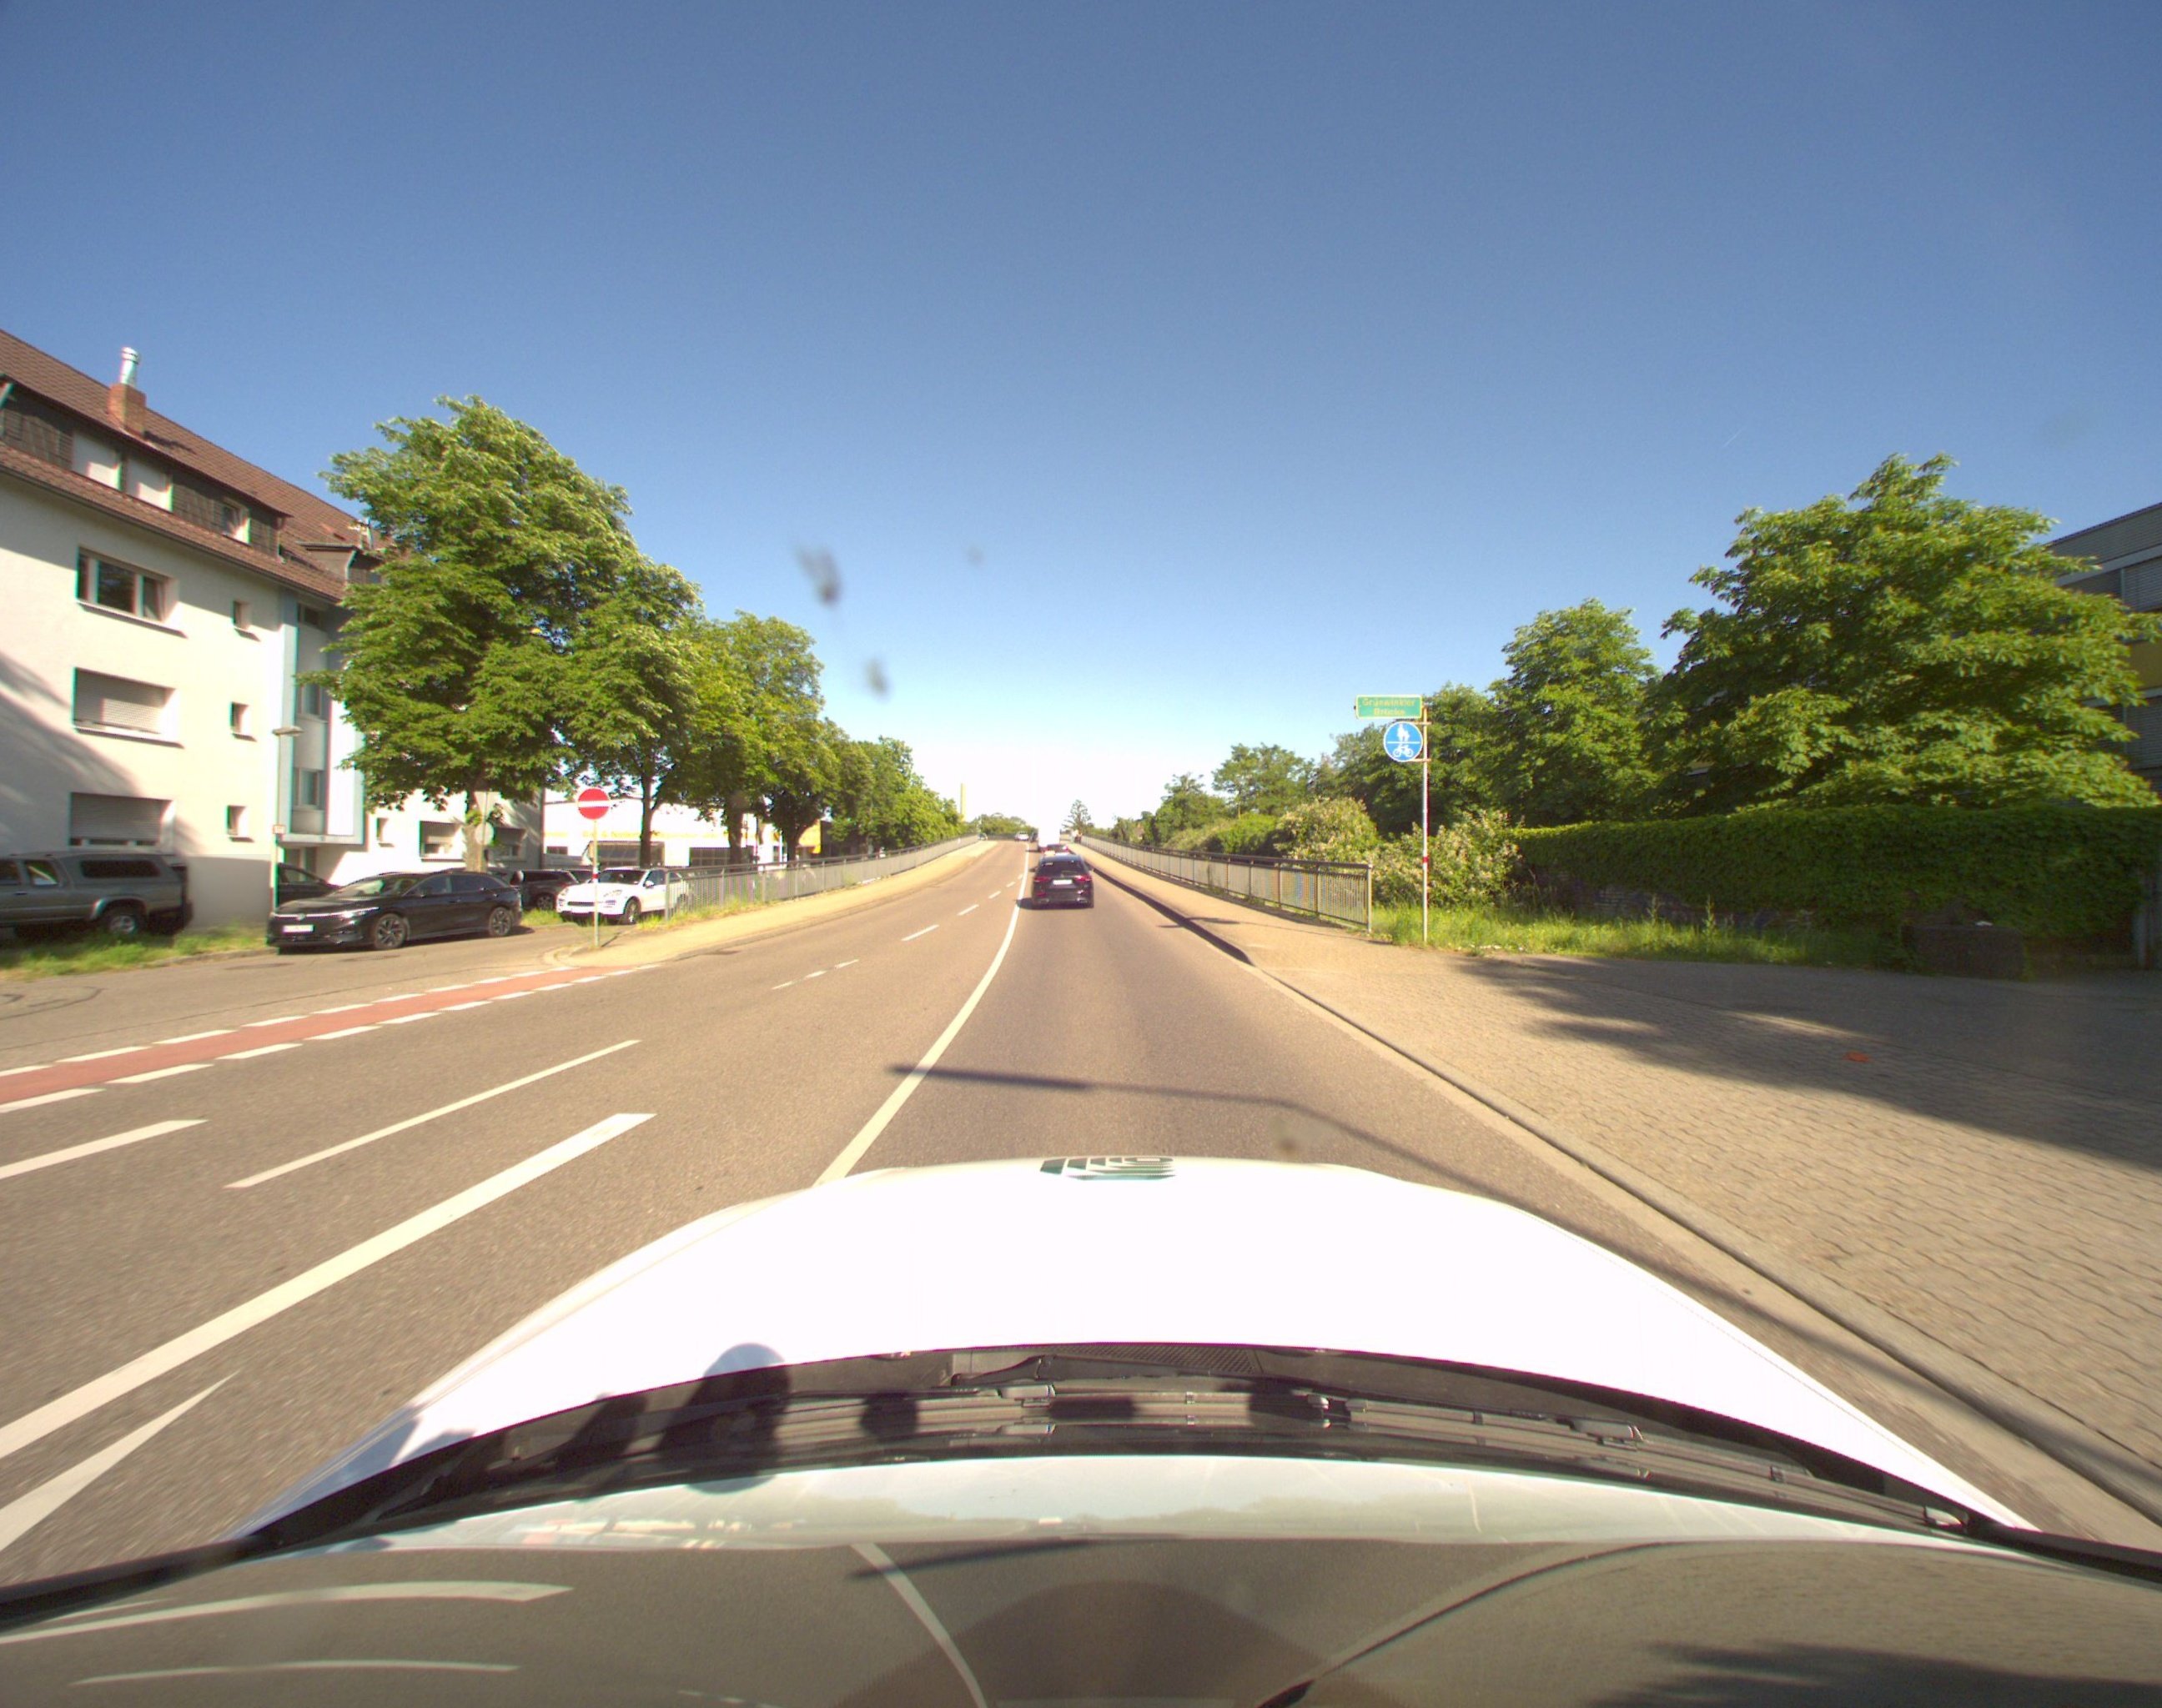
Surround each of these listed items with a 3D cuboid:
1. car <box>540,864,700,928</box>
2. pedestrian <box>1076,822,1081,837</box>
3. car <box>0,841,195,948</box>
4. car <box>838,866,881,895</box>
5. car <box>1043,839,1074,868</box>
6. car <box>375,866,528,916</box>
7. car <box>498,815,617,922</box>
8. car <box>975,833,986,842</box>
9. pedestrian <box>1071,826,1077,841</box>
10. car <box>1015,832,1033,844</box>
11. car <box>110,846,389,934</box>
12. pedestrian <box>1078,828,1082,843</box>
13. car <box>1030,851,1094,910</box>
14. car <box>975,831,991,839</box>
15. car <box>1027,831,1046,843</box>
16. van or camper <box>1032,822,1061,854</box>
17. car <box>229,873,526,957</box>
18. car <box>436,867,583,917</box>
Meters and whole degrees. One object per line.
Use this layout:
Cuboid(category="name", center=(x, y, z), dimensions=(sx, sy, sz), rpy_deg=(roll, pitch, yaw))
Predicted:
Cuboid(category="car", center=(-14.000, 1.198, 25.192), dimensions=(2.032, 1.729, 5.233), rpy_deg=(1, -1, -1))
Cuboid(category="pedestrian", center=(-0.249, -2.840, 94.483), dimensions=(0.548, 1.750, 0.738), rpy_deg=(0, 0, -4))
Cuboid(category="car", center=(-20.348, 0.735, 15.325), dimensions=(1.741, 1.930, 5.101), rpy_deg=(0, -1, 0))
Cuboid(category="car", center=(-16.341, 1.916, 60.412), dimensions=(1.916, 1.991, 4.258), rpy_deg=(0, 0, 1))
Cuboid(category="car", center=(-1.329, -0.008, 49.348), dimensions=(1.799, 1.640, 3.998), rpy_deg=(0, -2, 0))
Cuboid(category="car", center=(-20.441, 1.171, 26.656), dimensions=(3.679, 1.510, 1.768), rpy_deg=(0, 0, -29))
Cuboid(category="car", center=(-27.588, 0.882, 43.290), dimensions=(2.124, 2.567, 5.875), rpy_deg=(22, -30, 7))
Cuboid(category="car", center=(-17.913, -2.964, 145.140), dimensions=(1.766, 1.474, 3.984), rpy_deg=(-2, 2, -4))
Cuboid(category="pedestrian", center=(-0.822, -2.336, 93.784), dimensions=(0.601, 1.750, 0.716), rpy_deg=(0, 0, -4))
Cuboid(category="car", center=(-9.075, -2.541, 130.798), dimensions=(1.981, 1.680, 4.010), rpy_deg=(-1, -1, 10))
Cuboid(category="car", center=(-20.373, 0.826, 20.363), dimensions=(2.064, 1.930, 4.783), rpy_deg=(0, -1, -2))
Cuboid(category="pedestrian", center=(-0.142, -2.102, 93.245), dimensions=(0.470, 1.750, 0.653), rpy_deg=(0, 0, -4))
Cuboid(category="car", center=(-0.509, 0.715, 24.386), dimensions=(1.764, 1.592, 3.989), rpy_deg=(0, 1, 0))
Cuboid(category="car", center=(-19.118, -3.652, 158.725), dimensions=(1.885, 1.543, 3.968), rpy_deg=(0, 0, -24))
Cuboid(category="car", center=(-6.108, -2.332, 112.771), dimensions=(1.908, 1.488, 4.278), rpy_deg=(-1, -1, 7))
Cuboid(category="van or camper", center=(-3.215, -1.369, 74.511), dimensions=(2.223, 2.739, 7.066), rpy_deg=(0, 0, -6))
Cuboid(category="car", center=(-14.357, 1.149, 17.155), dimensions=(2.032, 1.464, 4.957), rpy_deg=(0, -1, -2))
Cuboid(category="car", center=(-20.574, 1.317, 29.528), dimensions=(4.004, 1.598, 1.985), rpy_deg=(-1, 0, -23))
